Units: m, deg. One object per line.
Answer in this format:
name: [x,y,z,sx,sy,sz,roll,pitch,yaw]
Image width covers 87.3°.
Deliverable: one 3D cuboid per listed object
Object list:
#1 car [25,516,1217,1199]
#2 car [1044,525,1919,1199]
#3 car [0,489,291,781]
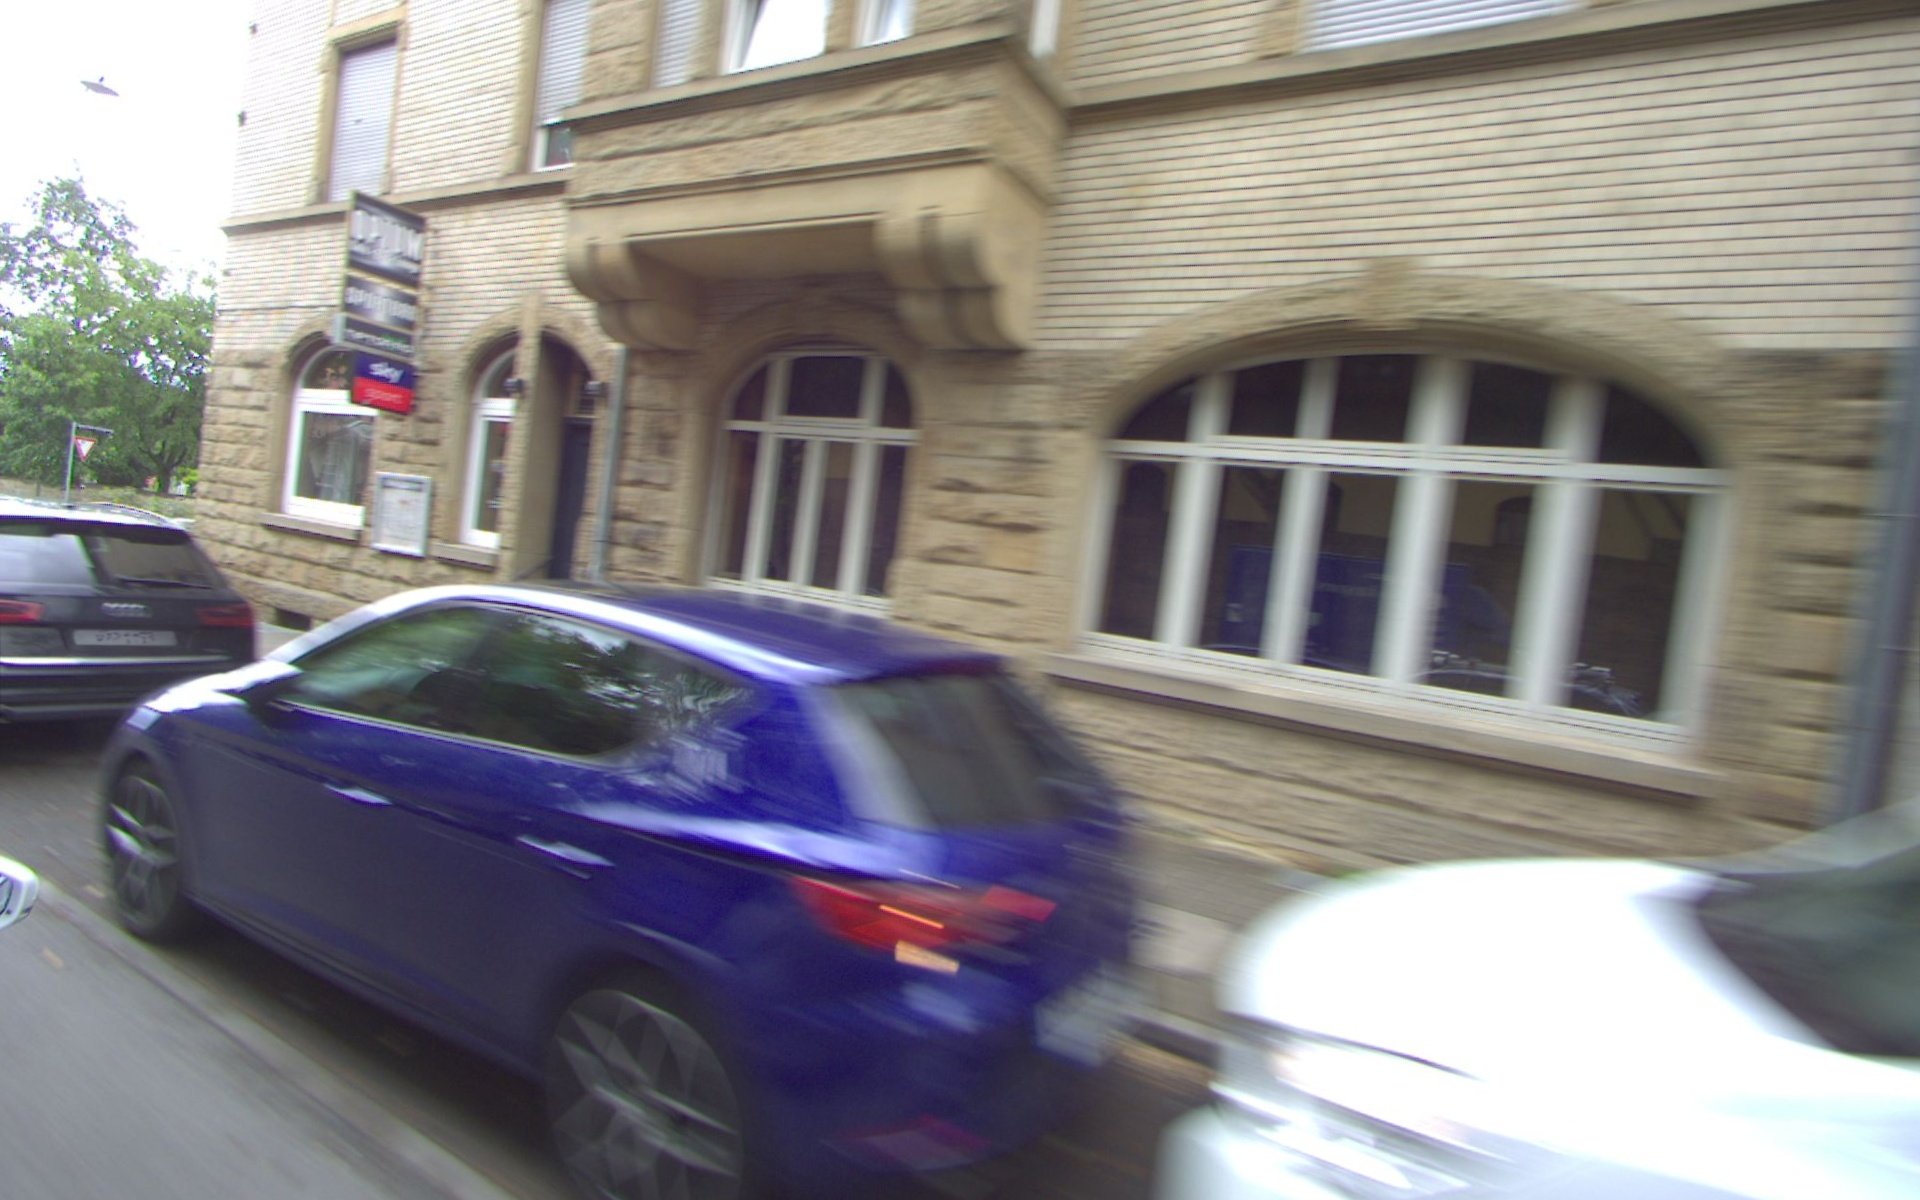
car: [-1.457,0.613,3.576,4.204,1.416,1.606,7,2,31]
car: [2.495,0.977,1.247,4.466,1.685,1.680,7,2,29]
car: [-6.760,-0.010,6.830,4.694,1.482,1.740,7,2,30]
